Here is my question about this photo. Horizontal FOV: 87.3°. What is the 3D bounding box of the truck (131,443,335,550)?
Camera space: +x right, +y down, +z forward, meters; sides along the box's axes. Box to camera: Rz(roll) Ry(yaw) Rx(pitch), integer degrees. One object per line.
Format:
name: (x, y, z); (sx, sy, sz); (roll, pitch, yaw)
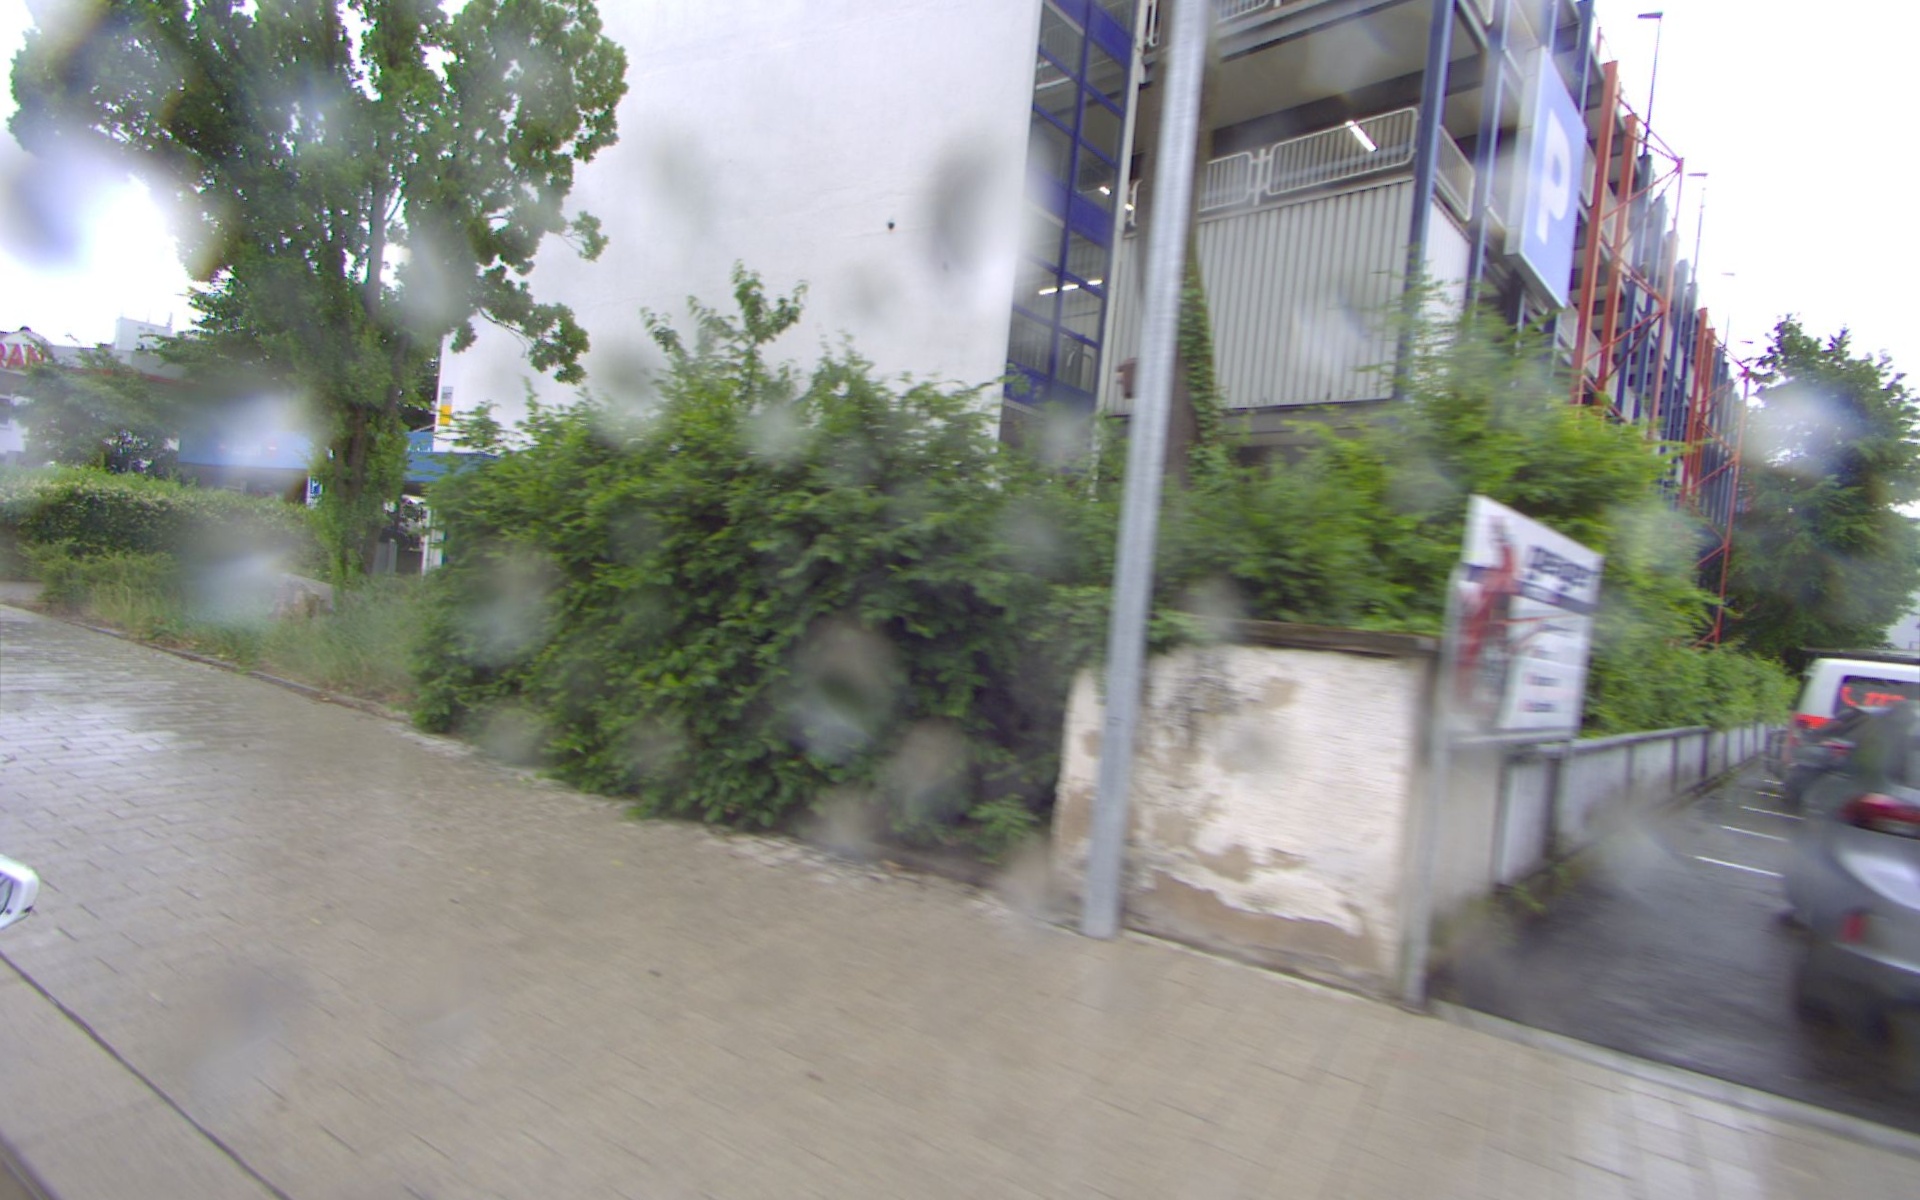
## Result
truck: (-35.188, -4.883, 49.146); (2.629, 3.480, 7.763); (6, -4, 16)

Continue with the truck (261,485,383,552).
truck: (-24.754, -3.167, 39.054); (3.929, 2.035, 2.002); (5, -4, 26)

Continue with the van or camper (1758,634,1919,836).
van or camper: (11.728, 1.685, 11.011); (4.401, 2.062, 1.834); (7, 0, 43)

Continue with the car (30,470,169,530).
car: (-33.272, -3.834, 39.021); (1.917, 1.573, 3.532); (6, -2, 11)

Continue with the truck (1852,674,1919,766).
truck: (27.494, 3.462, 26.925); (5.235, 2.293, 1.993); (4, -5, 41)

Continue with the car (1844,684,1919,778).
car: (21.581, 2.992, 21.488); (3.947, 1.833, 1.891); (4, -5, 43)

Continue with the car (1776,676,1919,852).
car: (10.112, 1.710, 9.073); (4.146, 1.460, 1.930); (7, 0, 40)

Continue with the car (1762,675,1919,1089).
car: (5.175, 1.249, 4.879); (1.780, 1.513, 3.615); (7, 1, 40)

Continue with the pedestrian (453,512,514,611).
pedestrian: (-9.499, -0.759, 20.052); (0.759, 1.859, 0.570); (7, 1, 29)

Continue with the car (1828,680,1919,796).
car: (16.635, 2.423, 16.102); (3.947, 1.701, 1.725); (7, 2, 44)
